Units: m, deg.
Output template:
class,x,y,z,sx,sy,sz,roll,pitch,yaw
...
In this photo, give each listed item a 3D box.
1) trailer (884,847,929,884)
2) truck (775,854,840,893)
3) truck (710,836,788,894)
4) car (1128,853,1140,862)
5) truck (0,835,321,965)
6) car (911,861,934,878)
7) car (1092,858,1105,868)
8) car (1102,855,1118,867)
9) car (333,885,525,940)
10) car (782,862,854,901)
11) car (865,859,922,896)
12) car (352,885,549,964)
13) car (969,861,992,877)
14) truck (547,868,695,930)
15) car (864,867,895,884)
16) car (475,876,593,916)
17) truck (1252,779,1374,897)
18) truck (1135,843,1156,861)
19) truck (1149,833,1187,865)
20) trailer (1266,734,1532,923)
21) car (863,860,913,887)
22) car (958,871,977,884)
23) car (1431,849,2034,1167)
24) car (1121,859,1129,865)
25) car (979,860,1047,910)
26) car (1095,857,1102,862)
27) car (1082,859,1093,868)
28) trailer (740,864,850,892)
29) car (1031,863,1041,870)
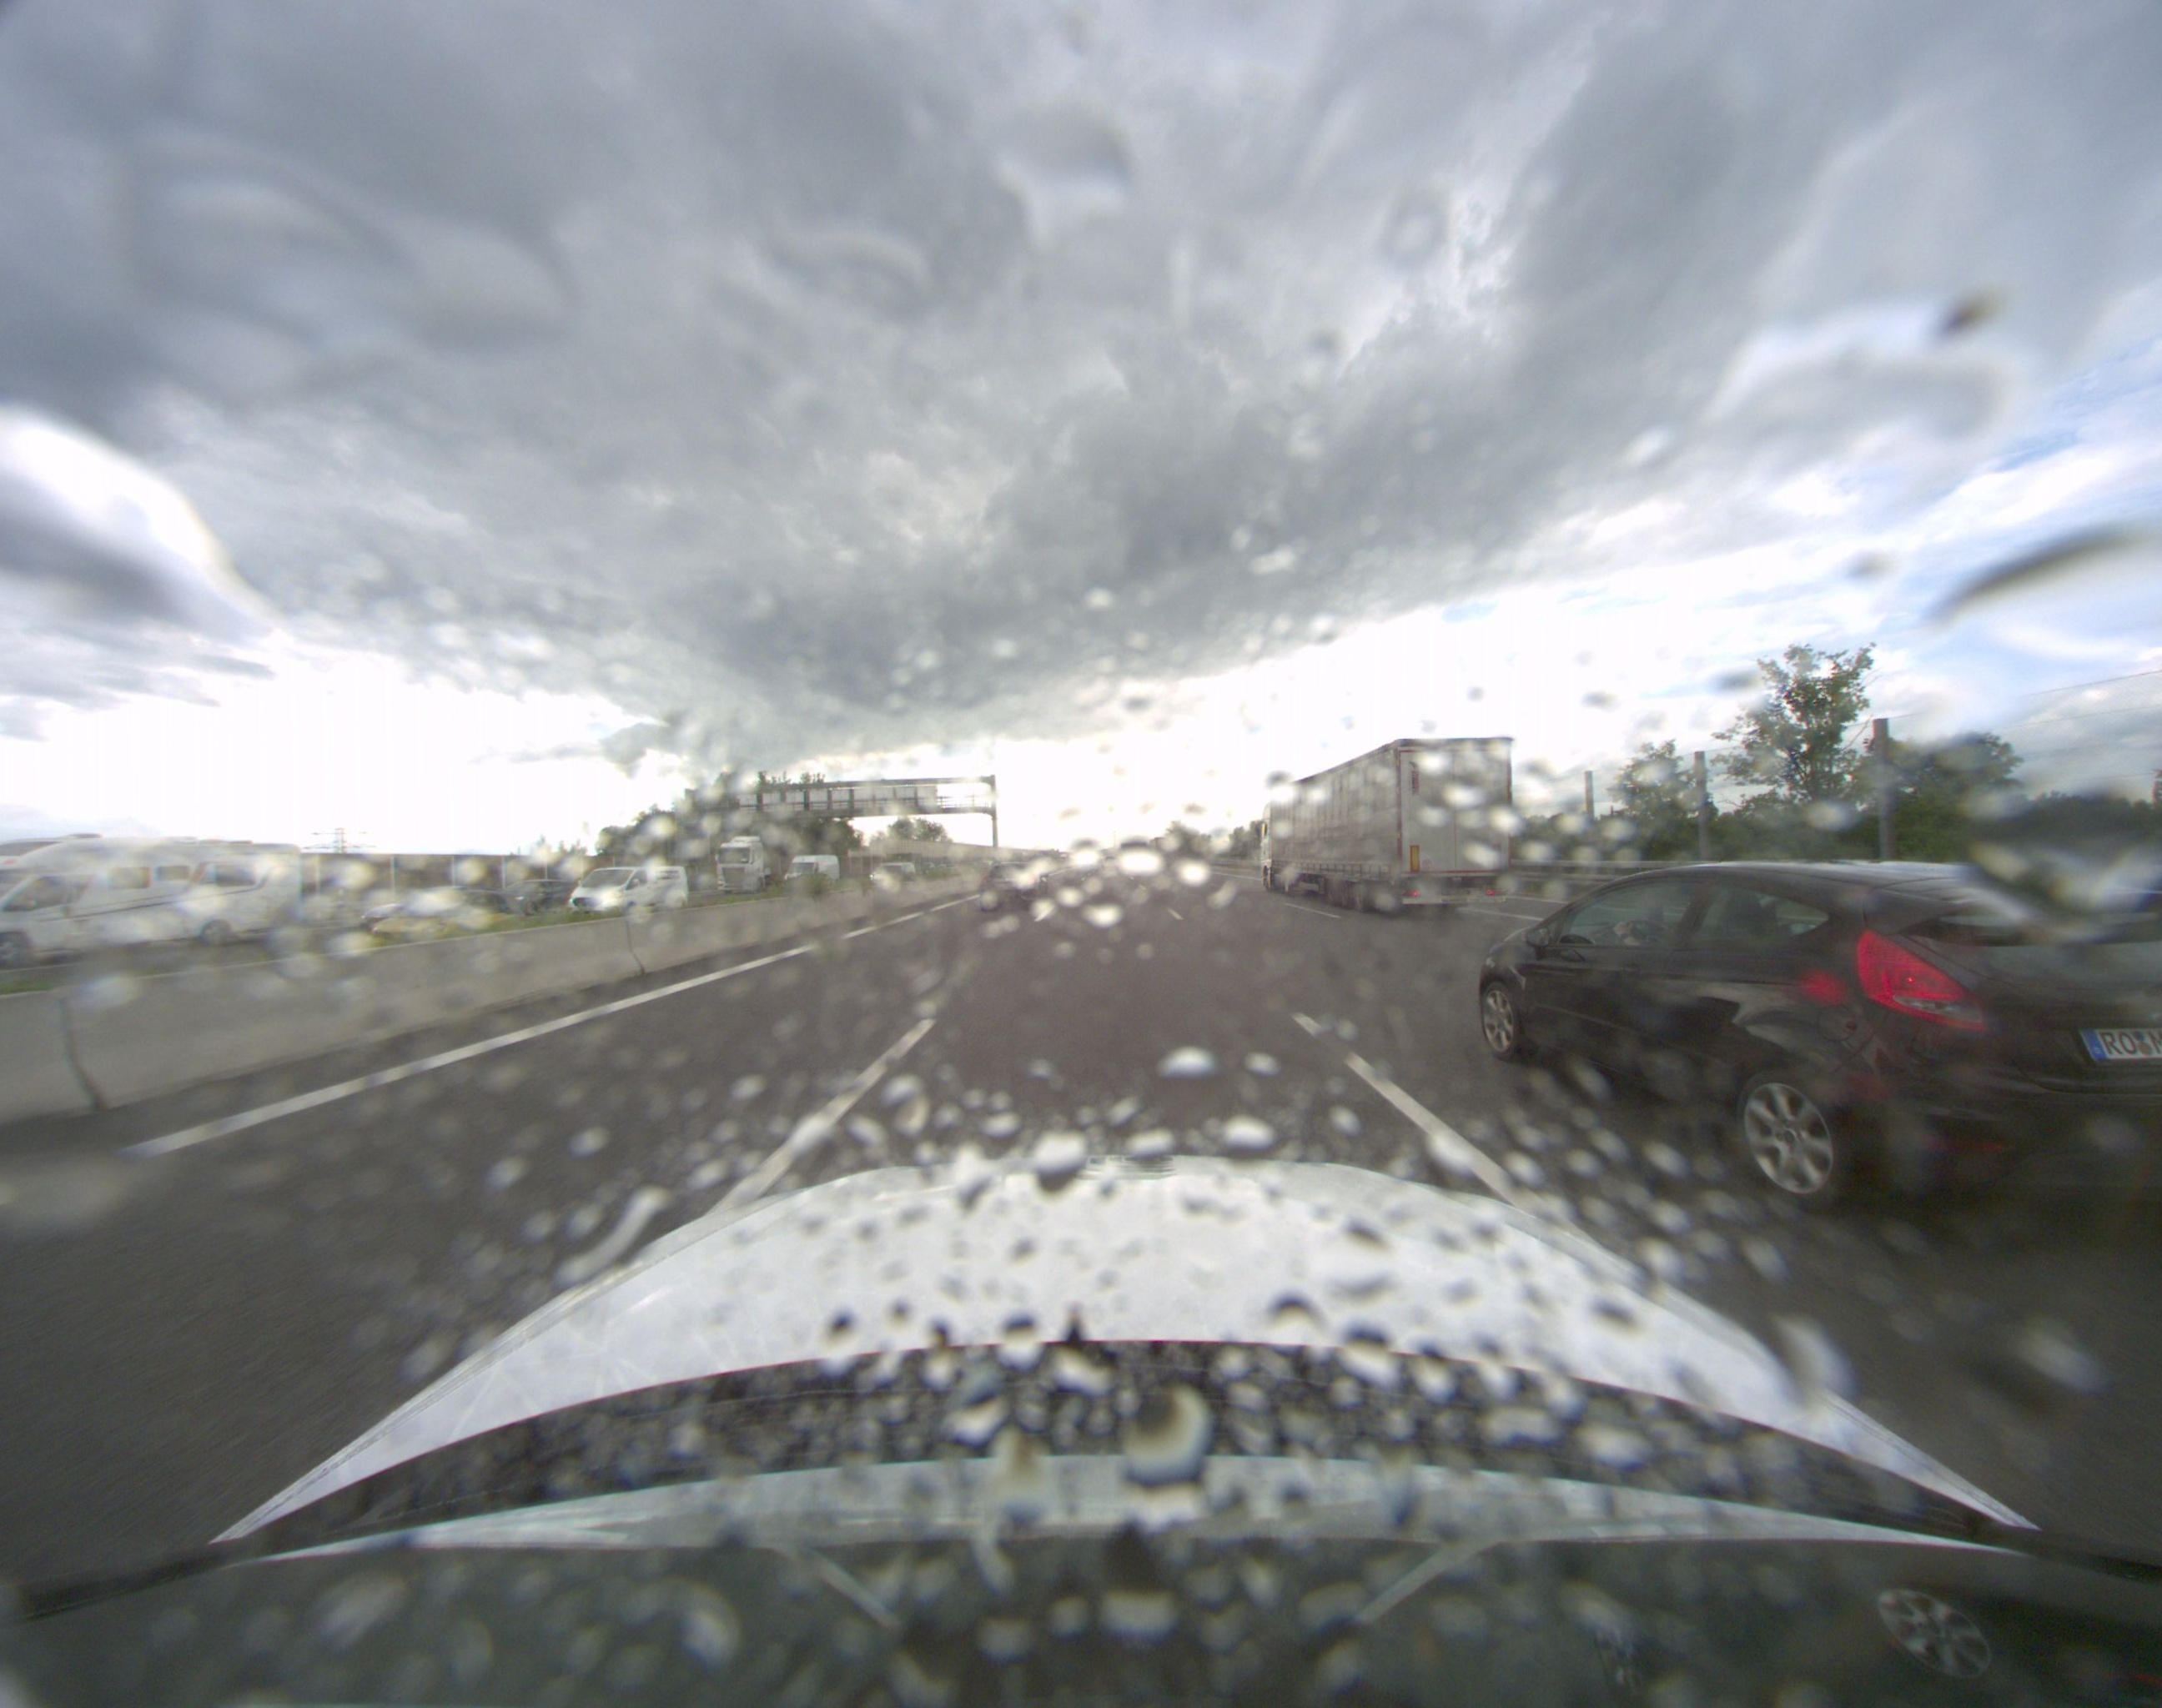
class,x,y,z,sx,sy,sz,roll,pitch,yaw
trailer,-15.680,1.028,73.684,2.440,3.138,6.054,-2,0,2
truck,-19.728,1.374,59.181,2.235,2.604,6.562,-2,-1,2
truck,-23.604,0.769,58.220,2.742,3.887,6.054,-2,0,2
car,8.820,0.600,135.796,1.829,1.441,4.056,-1,0,1
truck,-24.511,1.057,20.744,2.680,2.814,7.838,-2,-1,2
car,-18.367,1.813,94.611,1.741,1.847,4.166,-2,0,1
car,2.711,1.413,127.030,1.767,1.441,4.054,-1,0,0
car,3.538,0.860,98.541,1.767,1.441,4.054,-1,0,0
car,-20.379,1.773,25.816,1.956,1.386,4.947,-2,-1,2
car,-15.551,1.599,48.522,2.235,2.114,5.543,-2,-1,2
car,-12.209,1.513,53.519,2.221,2.237,5.516,-2,-1,2
car,-13.402,1.449,17.565,1.608,1.388,3.328,-1,0,0
car,-11.397,1.677,92.761,1.809,1.709,4.809,-2,-1,2
truck,-16.983,1.588,30.503,2.236,2.000,5.545,-2,-1,1
car,-18.985,1.989,76.776,1.809,1.495,3.902,-2,-1,2
car,-23.922,1.809,35.900,1.800,1.488,4.775,-2,-1,2
truck,8.671,-0.574,31.323,2.950,4.020,6.591,-1,0,2
truck,15.280,-0.394,194.118,4.228,4.176,11.992,0,0,1
truck,12.083,-0.692,114.380,4.166,4.288,12.613,0,0,1
trailer,8.453,-0.566,24.616,2.950,4.020,14.124,-1,0,2
car,-15.924,1.556,67.552,2.440,2.051,6.197,-2,0,2
car,-14.123,2.910,101.301,1.676,1.577,3.876,-2,0,1
car,3.695,0.714,5.349,1.442,1.441,3.164,-1,0,1
car,10.458,1.858,193.852,1.829,1.441,4.056,-1,0,1
car,-2.103,0.925,26.365,1.755,1.369,5.059,-1,0,0
car,4.514,1.448,214.813,1.767,1.441,4.054,-1,0,-1
car,1.127,1.648,136.563,1.767,1.441,3.873,-1,0,0
trailer,-23.175,1.816,67.605,2.742,1.828,16.358,-2,0,2
car,-10.545,3.000,191.522,1.740,1.525,4.930,-2,0,3
